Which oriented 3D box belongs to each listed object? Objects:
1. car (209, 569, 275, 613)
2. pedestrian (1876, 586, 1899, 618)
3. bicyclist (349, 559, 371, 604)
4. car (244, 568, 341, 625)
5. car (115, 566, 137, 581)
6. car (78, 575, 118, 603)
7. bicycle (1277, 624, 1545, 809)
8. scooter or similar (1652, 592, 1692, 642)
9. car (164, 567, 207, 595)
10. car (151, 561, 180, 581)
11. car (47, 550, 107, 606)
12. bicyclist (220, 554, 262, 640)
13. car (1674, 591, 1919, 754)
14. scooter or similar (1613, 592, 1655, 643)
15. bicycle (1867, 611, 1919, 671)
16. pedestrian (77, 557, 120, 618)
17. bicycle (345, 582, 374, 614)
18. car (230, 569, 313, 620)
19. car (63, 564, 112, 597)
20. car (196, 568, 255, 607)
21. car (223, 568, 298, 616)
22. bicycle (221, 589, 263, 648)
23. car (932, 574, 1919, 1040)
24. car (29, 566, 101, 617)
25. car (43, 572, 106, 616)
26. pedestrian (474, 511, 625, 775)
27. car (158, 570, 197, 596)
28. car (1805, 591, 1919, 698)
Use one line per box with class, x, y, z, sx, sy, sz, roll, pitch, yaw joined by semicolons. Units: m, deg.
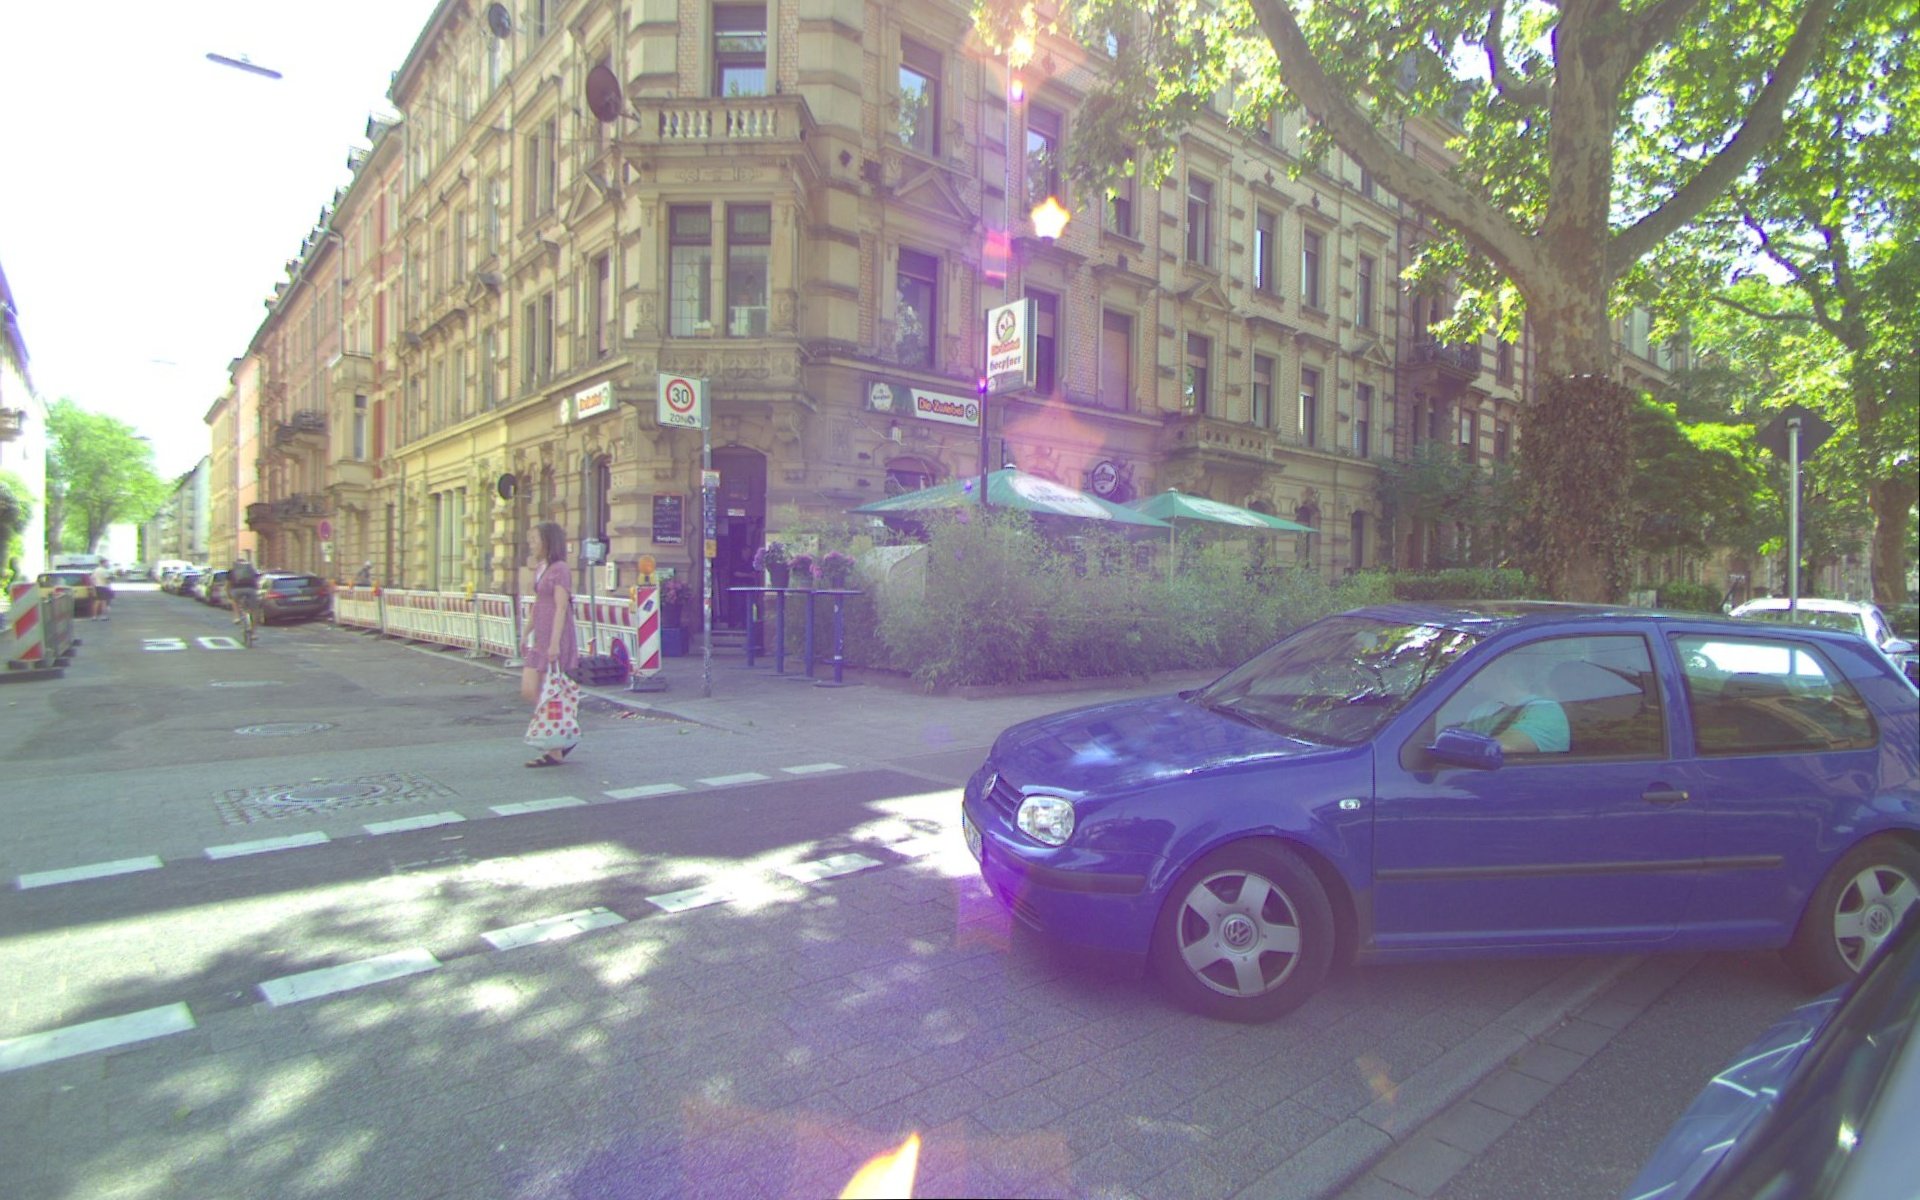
car;-30.581;-0.406;43.056;1.965;1.760;3.995;0;1;-41
pedestrian;50.361;0.110;54.924;0.951;1.740;0.796;0;1;-41
bicyclist;-19.842;-0.606;33.449;0.524;1.471;0.460;0;1;-44
car;-19.985;-0.153;30.235;1.965;1.571;3.995;0;1;-41
car;-101.592;-3.259;123.297;1.965;1.760;3.995;0;1;-41
car;-56.385;-0.723;66.256;1.879;1.731;4.158;0;1;-39
bicycle;2.898;0.727;6.533;1.583;1.119;0.423;1;1;-8
scooter or similar;19.370;0.451;27.537;1.124;1.298;0.583;0;1;-39
car;-49.559;-1.238;64.759;1.965;1.760;3.995;0;1;-41
car;-74.241;-2.685;94.528;1.965;1.760;3.995;0;1;-41
car;-40.029;-0.998;45.937;1.879;2.403;4.243;0;1;-39
bicyclist;-14.057;-0.073;19.785;0.613;1.643;0.694;0;1;-40
car;10.034;0.679;11.944;4.418;1.527;1.835;0;2;-44
scooter or similar;17.247;0.440;25.905;1.124;1.263;0.583;0;1;-40
bicycle;18.274;0.787;19.127;1.615;1.102;0.469;1;1;17
pedestrian;-26.007;-0.383;30.552;0.921;1.821;1.036;0;1;-44
bicycle;-19.840;-0.074;33.440;0.530;0.991;1.306;0;1;-44
car;-23.903;-0.230;35.066;1.965;1.660;3.995;0;1;-41
car;-47.056;-1.066;54.634;1.879;1.731;4.158;0;1;-39
car;-34.820;-0.619;47.934;1.965;1.760;3.995;0;1;-41
car;-26.904;-0.338;38.893;1.965;1.760;3.995;0;1;-41
bicycle;-14.085;0.338;19.828;0.523;1.062;1.924;0;1;-40
car;2.014;0.634;4.373;4.008;1.427;1.891;1;1;-10
car;-29.244;-0.307;33.106;1.698;1.548;3.489;0;1;-41
car;-32.792;-0.261;37.489;1.698;1.548;3.489;0;1;-42
pedestrian;-3.042;0.286;7.503;0.837;1.807;0.737;0;1;-41
car;-54.362;-1.172;70.303;1.965;1.760;3.995;0;1;-41
car;15.434;0.642;16.453;4.561;1.527;1.837;0;2;-40
